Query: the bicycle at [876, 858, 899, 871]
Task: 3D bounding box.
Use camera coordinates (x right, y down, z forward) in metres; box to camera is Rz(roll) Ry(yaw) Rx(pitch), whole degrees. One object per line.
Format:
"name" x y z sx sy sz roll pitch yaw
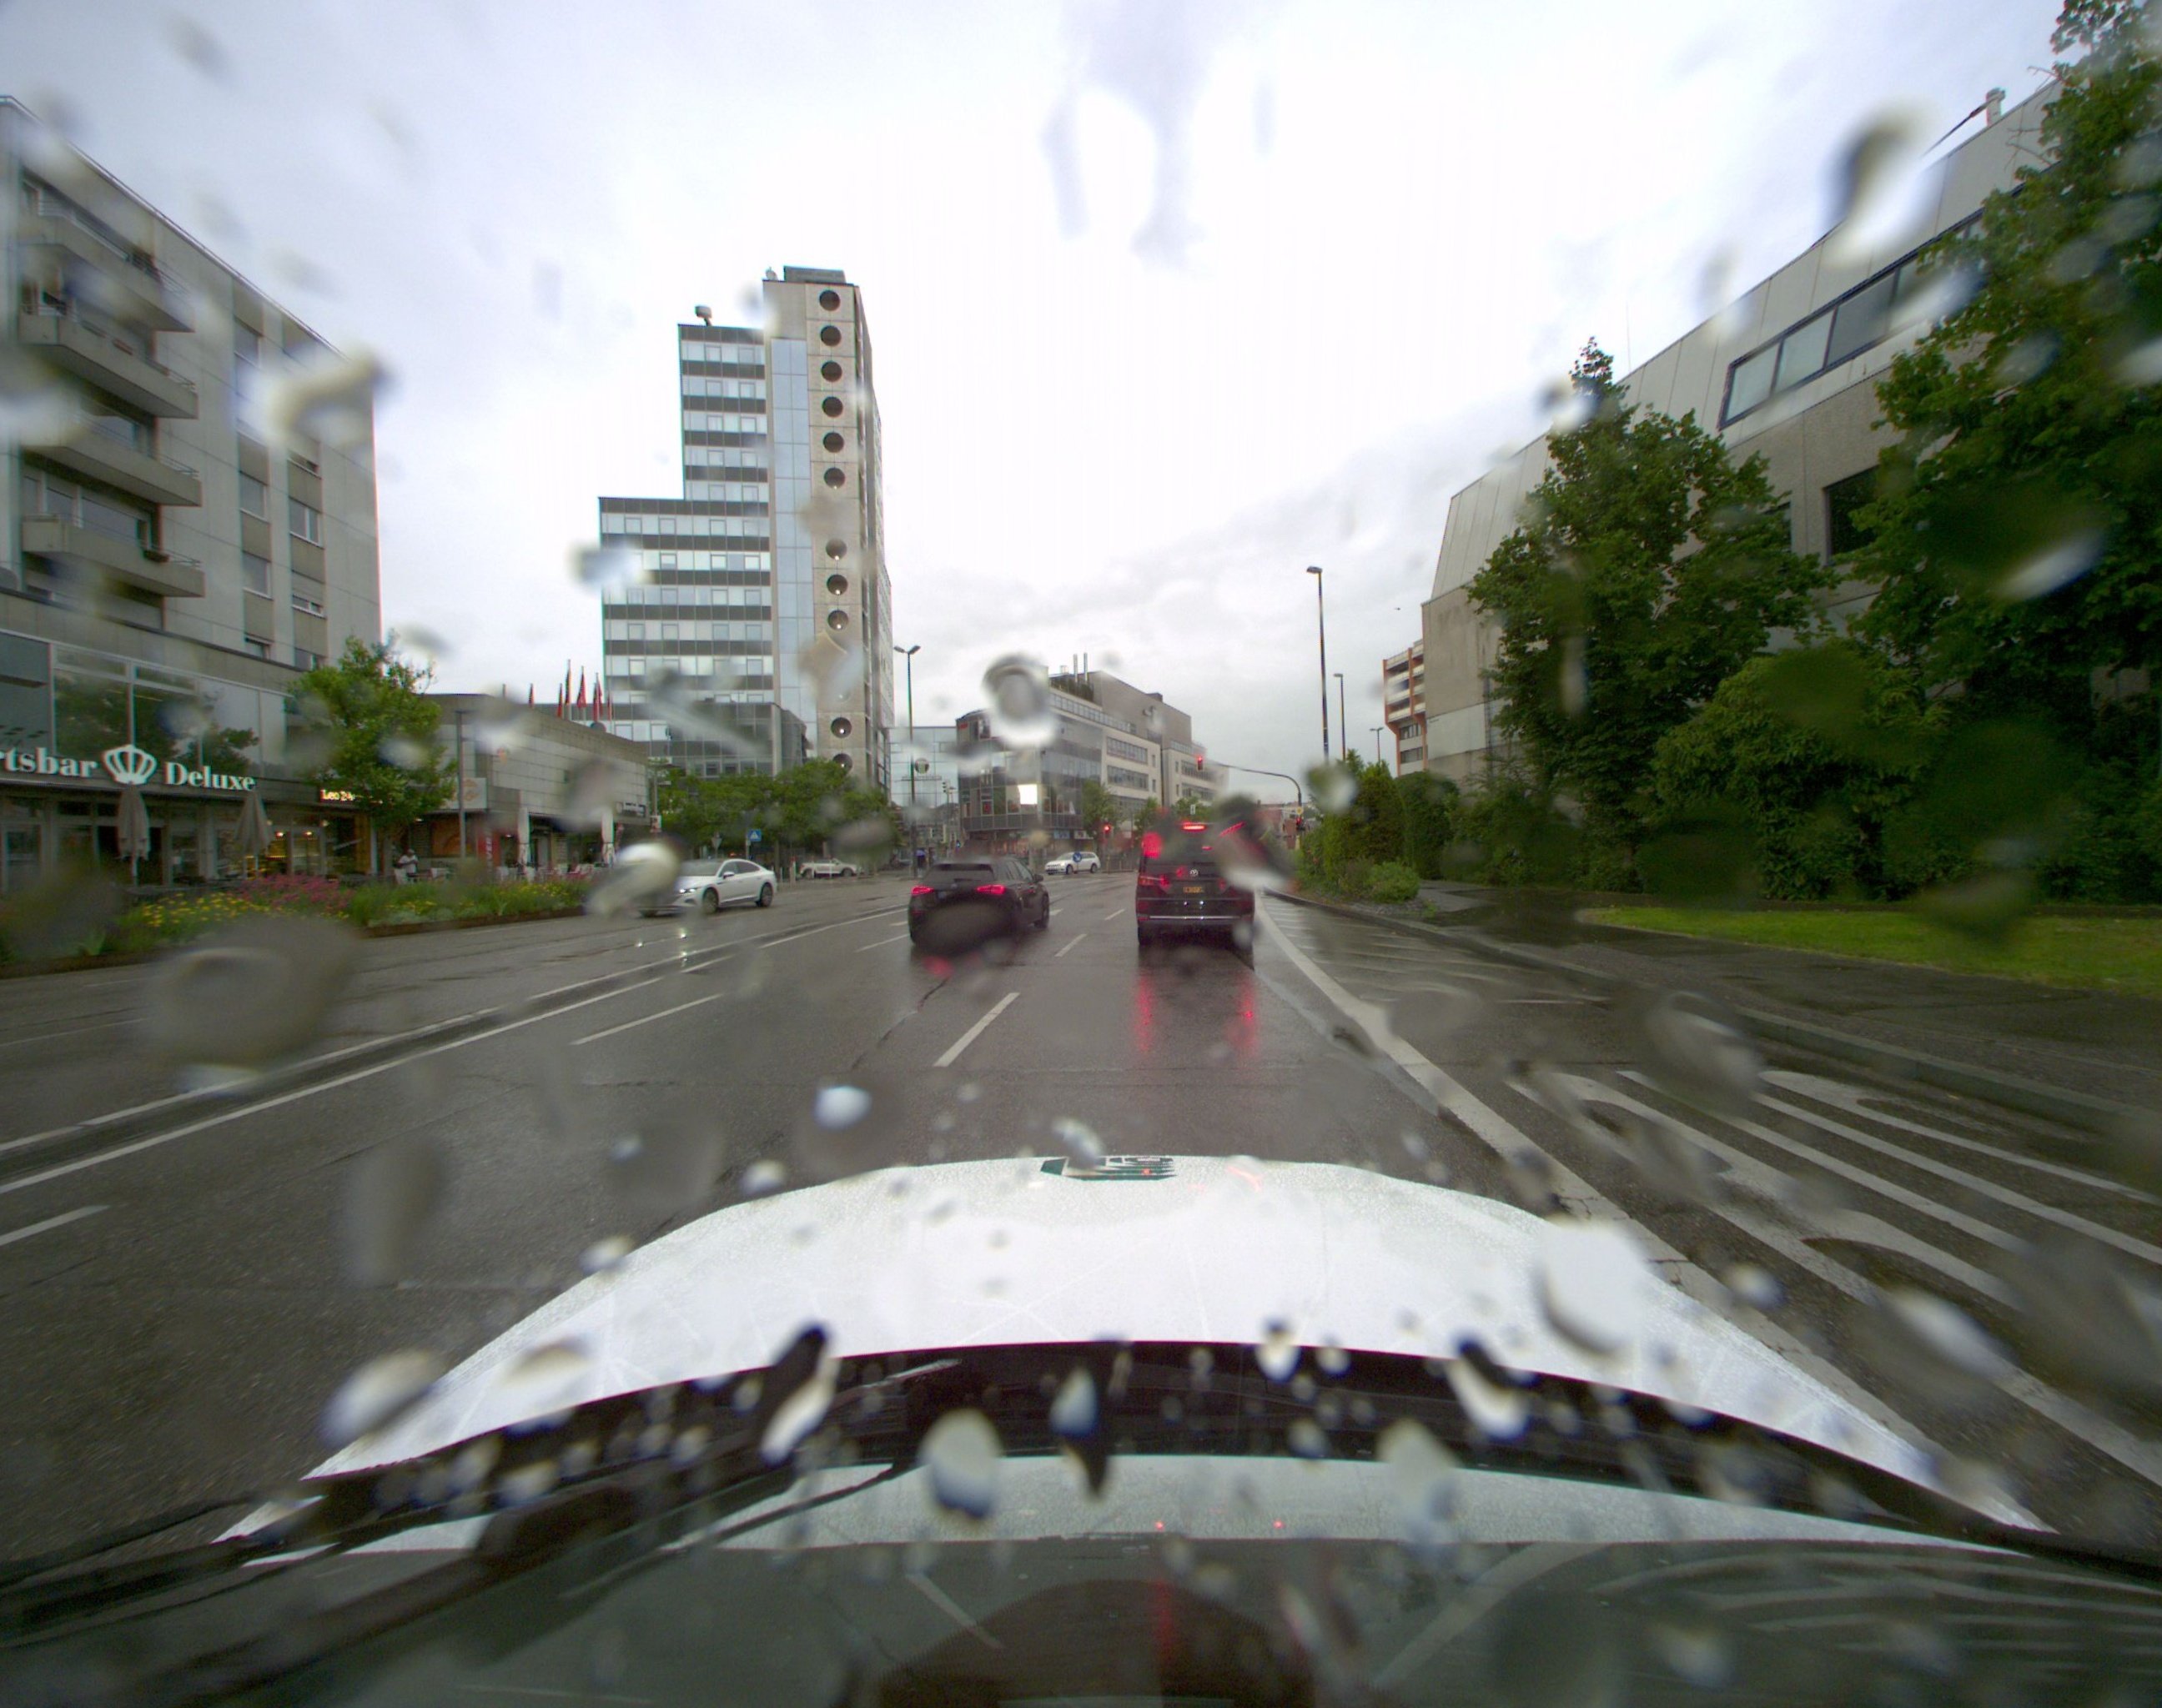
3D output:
"bicycle" -20.749 1.116 87.450 2.273 1.247 0.674 -2 -1 -9

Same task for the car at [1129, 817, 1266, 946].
"car" 2.059 0.418 14.388 1.984 1.894 4.598 -1 0 8

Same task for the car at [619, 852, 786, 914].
"car" -10.060 0.703 22.148 1.832 1.460 4.818 -1 0 7

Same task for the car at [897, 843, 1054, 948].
"car" -1.720 0.617 14.588 1.805 1.529 3.822 1 2 9

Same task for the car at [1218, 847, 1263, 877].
"car" 8.145 0.361 41.342 1.897 1.400 3.472 -2 0 16

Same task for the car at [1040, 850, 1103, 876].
"car" -0.593 0.578 54.867 1.867 1.682 4.534 -1 0 37

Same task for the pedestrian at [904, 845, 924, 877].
"pedestrian" -10.559 0.427 51.465 1.164 2.013 1.322 -1 0 -14

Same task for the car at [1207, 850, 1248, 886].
"car" 6.371 0.547 35.115 1.623 1.448 4.283 -1 0 12

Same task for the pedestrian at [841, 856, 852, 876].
"pedestrian" -23.094 1.188 80.207 0.756 1.868 0.824 -2 0 -34

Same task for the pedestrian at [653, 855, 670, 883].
"pedestrian" -20.678 0.727 40.138 0.491 1.347 0.540 -1 0 29

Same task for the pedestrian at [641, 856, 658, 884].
"pedestrian" -20.980 0.784 39.605 0.491 1.347 0.540 -1 0 27

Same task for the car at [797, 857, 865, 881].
"car" -17.372 1.027 56.700 4.181 1.595 1.869 -1 0 -2

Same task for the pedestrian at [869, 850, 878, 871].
"pedestrian" -20.766 0.647 81.413 0.763 2.013 0.712 -1 0 -10

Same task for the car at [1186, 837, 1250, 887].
"car" 4.921 0.251 28.824 1.888 1.621 4.352 -1 0 14
